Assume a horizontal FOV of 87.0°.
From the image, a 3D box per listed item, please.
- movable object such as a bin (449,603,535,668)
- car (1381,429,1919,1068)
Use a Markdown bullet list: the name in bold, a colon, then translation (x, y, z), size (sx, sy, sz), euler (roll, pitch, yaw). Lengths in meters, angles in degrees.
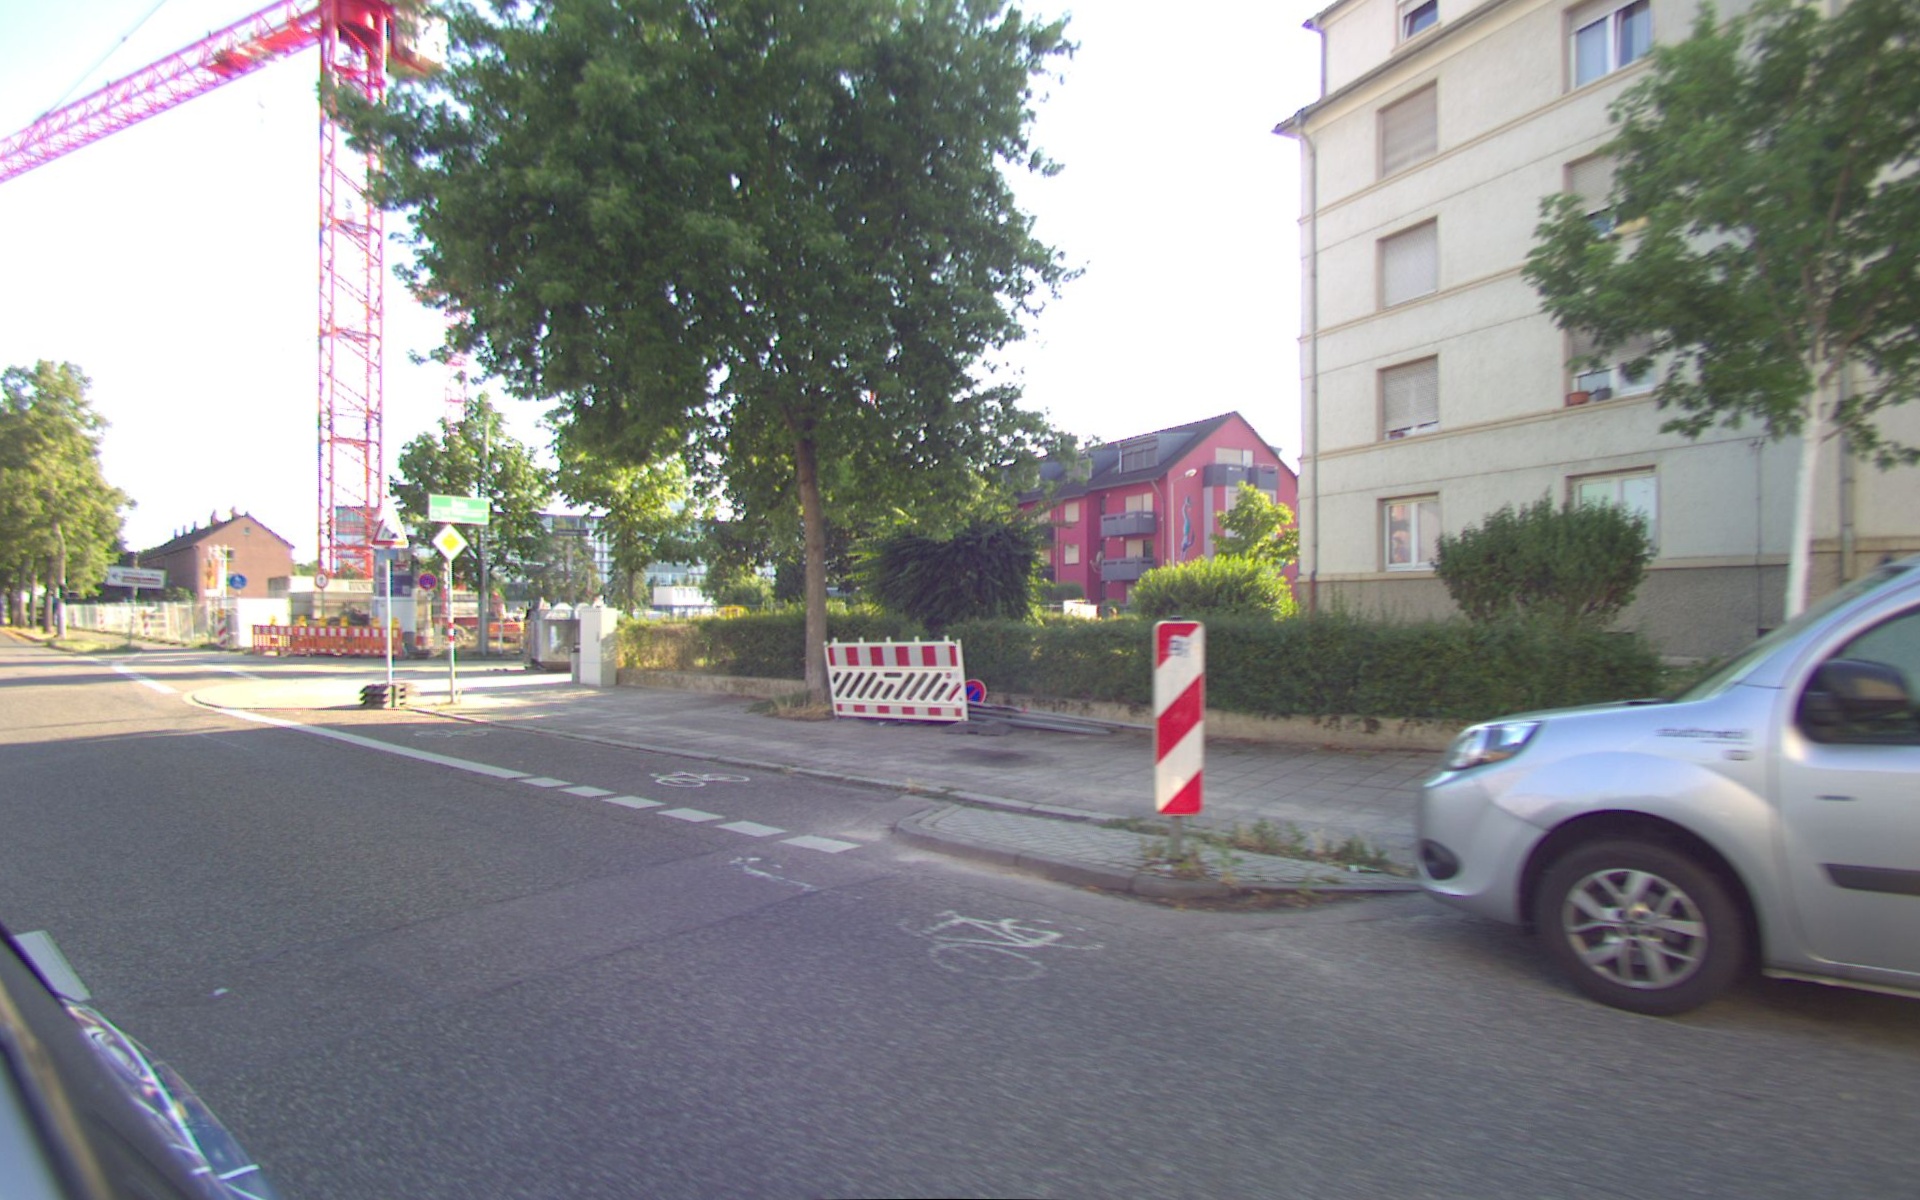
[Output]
- **movable object such as a bin**: translation (-40.565, 2.858, 87.345), size (4.034, 5.102, 12.248), euler (-1, 1, -38)
- **car**: translation (3.970, 0.459, 3.274), size (4.486, 1.911, 1.821), euler (0, -1, 42)
